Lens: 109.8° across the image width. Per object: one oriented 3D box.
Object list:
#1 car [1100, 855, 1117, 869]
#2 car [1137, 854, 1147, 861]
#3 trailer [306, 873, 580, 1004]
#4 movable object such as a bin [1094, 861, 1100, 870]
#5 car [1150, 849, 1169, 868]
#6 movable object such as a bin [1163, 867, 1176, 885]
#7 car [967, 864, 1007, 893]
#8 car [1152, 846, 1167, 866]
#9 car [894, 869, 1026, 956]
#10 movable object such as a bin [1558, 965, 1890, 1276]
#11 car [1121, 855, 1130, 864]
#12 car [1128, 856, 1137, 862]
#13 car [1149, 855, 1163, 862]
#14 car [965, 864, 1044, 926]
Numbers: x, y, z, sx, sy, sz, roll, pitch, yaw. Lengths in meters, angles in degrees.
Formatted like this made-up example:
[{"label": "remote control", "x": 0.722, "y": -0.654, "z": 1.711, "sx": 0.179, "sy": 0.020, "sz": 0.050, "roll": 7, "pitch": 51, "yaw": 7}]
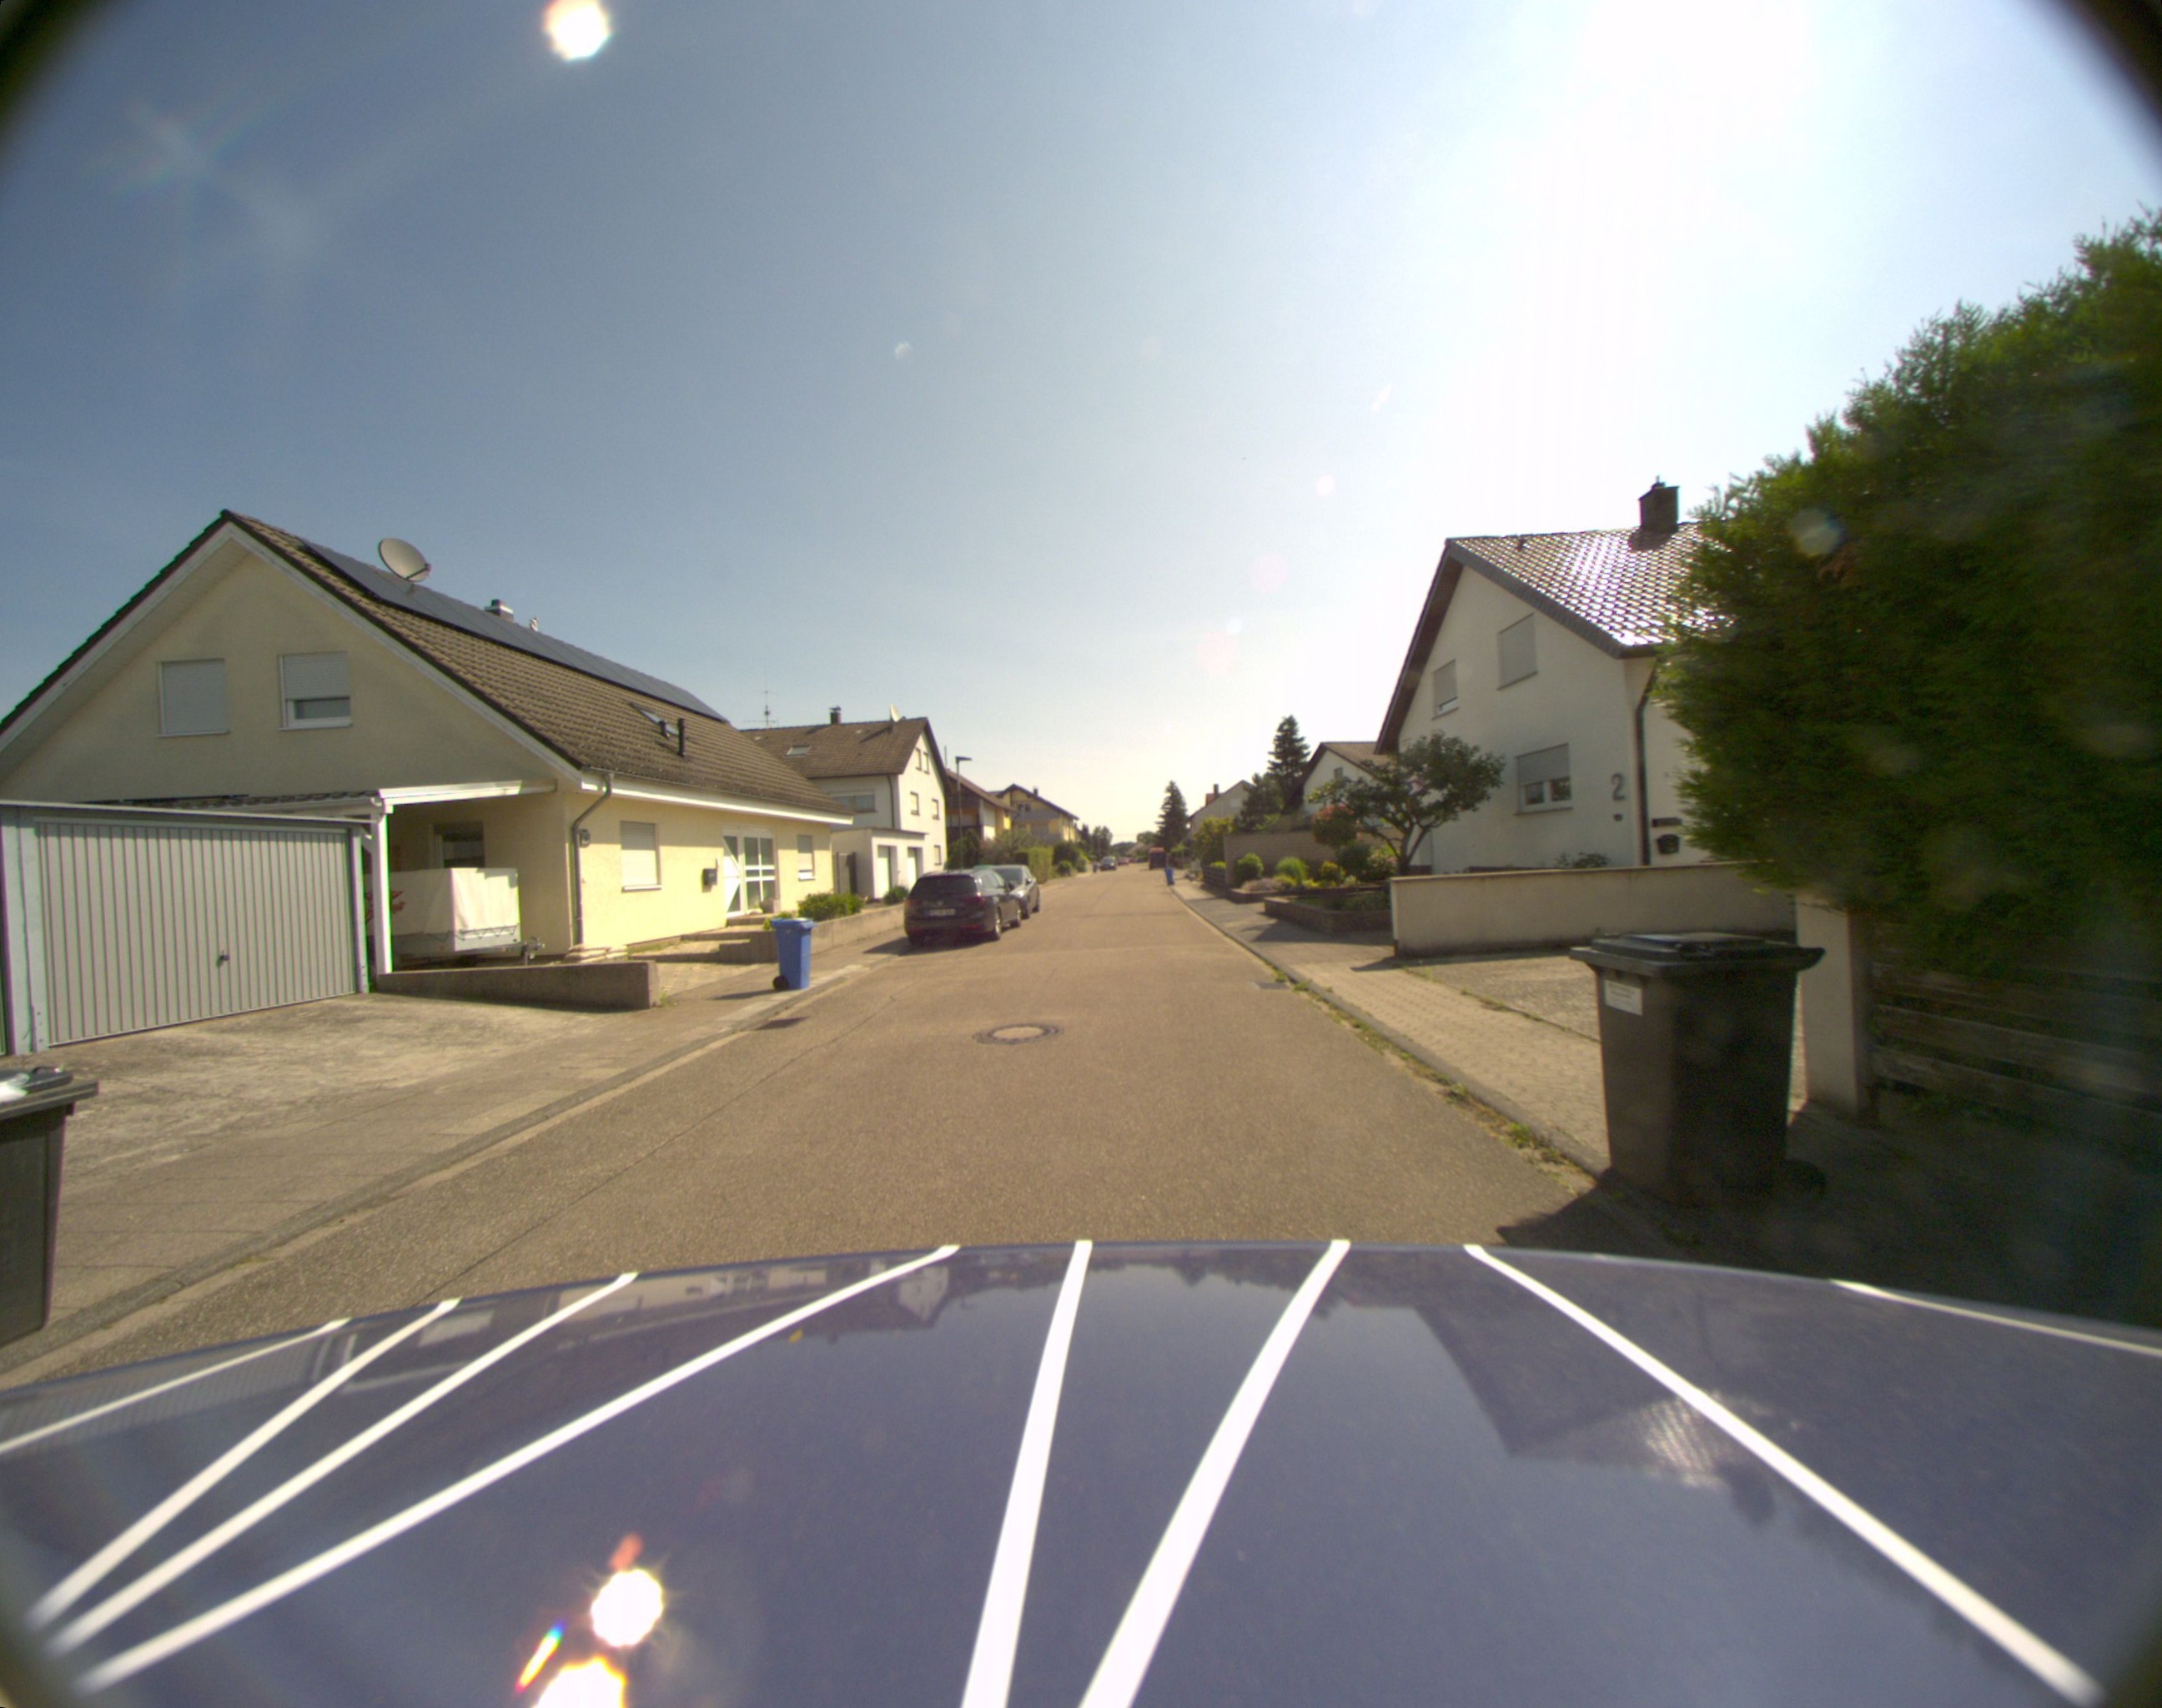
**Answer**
[{"label": "car", "x": 3.356, "y": 0.981, "z": 92.083, "sx": 1.631, "sy": 1.616, "sz": 4.002, "roll": -3, "pitch": -1, "yaw": 6}, {"label": "car", "x": 14.843, "y": 0.897, "z": 185.293, "sx": 1.709, "sy": 1.332, "sz": 4.000, "roll": -4, "pitch": -2, "yaw": -3}, {"label": "trailer", "x": -9.328, "y": 1.199, "z": 11.239, "sx": 2.840, "sy": 1.680, "sz": 1.403, "roll": -3, "pitch": 0, "yaw": 3}, {"label": "movable object such as a bin", "x": 1.763, "y": 1.272, "z": 83.020, "sx": 0.584, "sy": 0.911, "sz": 0.598, "roll": -4, "pitch": 0, "yaw": 4}, {"label": "car", "x": 8.458, "y": 0.466, "z": 82.155, "sx": 1.869, "sy": 1.927, "sz": 4.205, "roll": -3, "pitch": 0, "yaw": 4}, {"label": "movable object such as a bin", "x": 4.556, "y": 1.130, "z": 39.017, "sx": 0.584, "sy": 0.911, "sz": 0.598, "roll": -4, "pitch": 0, "yaw": 4}, {"label": "car", "x": -4.921, "y": 1.247, "z": 40.147, "sx": 1.498, "sy": 1.351, "sz": 3.527, "roll": -3, "pitch": 0, "yaw": 2}, {"label": "car", "x": 9.415, "y": 0.255, "z": 91.348, "sx": 1.555, "sy": 2.310, "sz": 4.205, "roll": -3, "pitch": 0, "yaw": 4}, {"label": "car", "x": -2.433, "y": 1.139, "z": 16.450, "sx": 1.721, "sy": 1.430, "sz": 4.504, "roll": -3, "pitch": 0, "yaw": 5}, {"label": "movable object such as a bin", "x": 2.599, "y": 1.047, "z": 3.152, "sx": 0.820, "sy": 1.057, "sz": 0.611, "roll": -2, "pitch": 0, "yaw": 2}, {"label": "car", "x": 7.900, "y": 0.960, "z": 134.461, "sx": 1.517, "sy": 1.397, "sz": 3.678, "roll": -4, "pitch": -1, "yaw": 2}, {"label": "car", "x": 13.413, "y": 1.217, "z": 198.093, "sx": 1.709, "sy": 1.332, "sz": 4.000, "roll": -4, "pitch": -2, "yaw": -3}, {"label": "car", "x": 19.116, "y": 1.174, "z": 194.119, "sx": 3.413, "sy": 1.521, "sz": 1.638, "roll": -3, "pitch": 0, "yaw": -2}, {"label": "car", "x": -2.117, "y": 1.112, "z": 22.099, "sx": 1.646, "sy": 1.470, "sz": 4.000, "roll": -4, "pitch": 0, "yaw": 2}]
